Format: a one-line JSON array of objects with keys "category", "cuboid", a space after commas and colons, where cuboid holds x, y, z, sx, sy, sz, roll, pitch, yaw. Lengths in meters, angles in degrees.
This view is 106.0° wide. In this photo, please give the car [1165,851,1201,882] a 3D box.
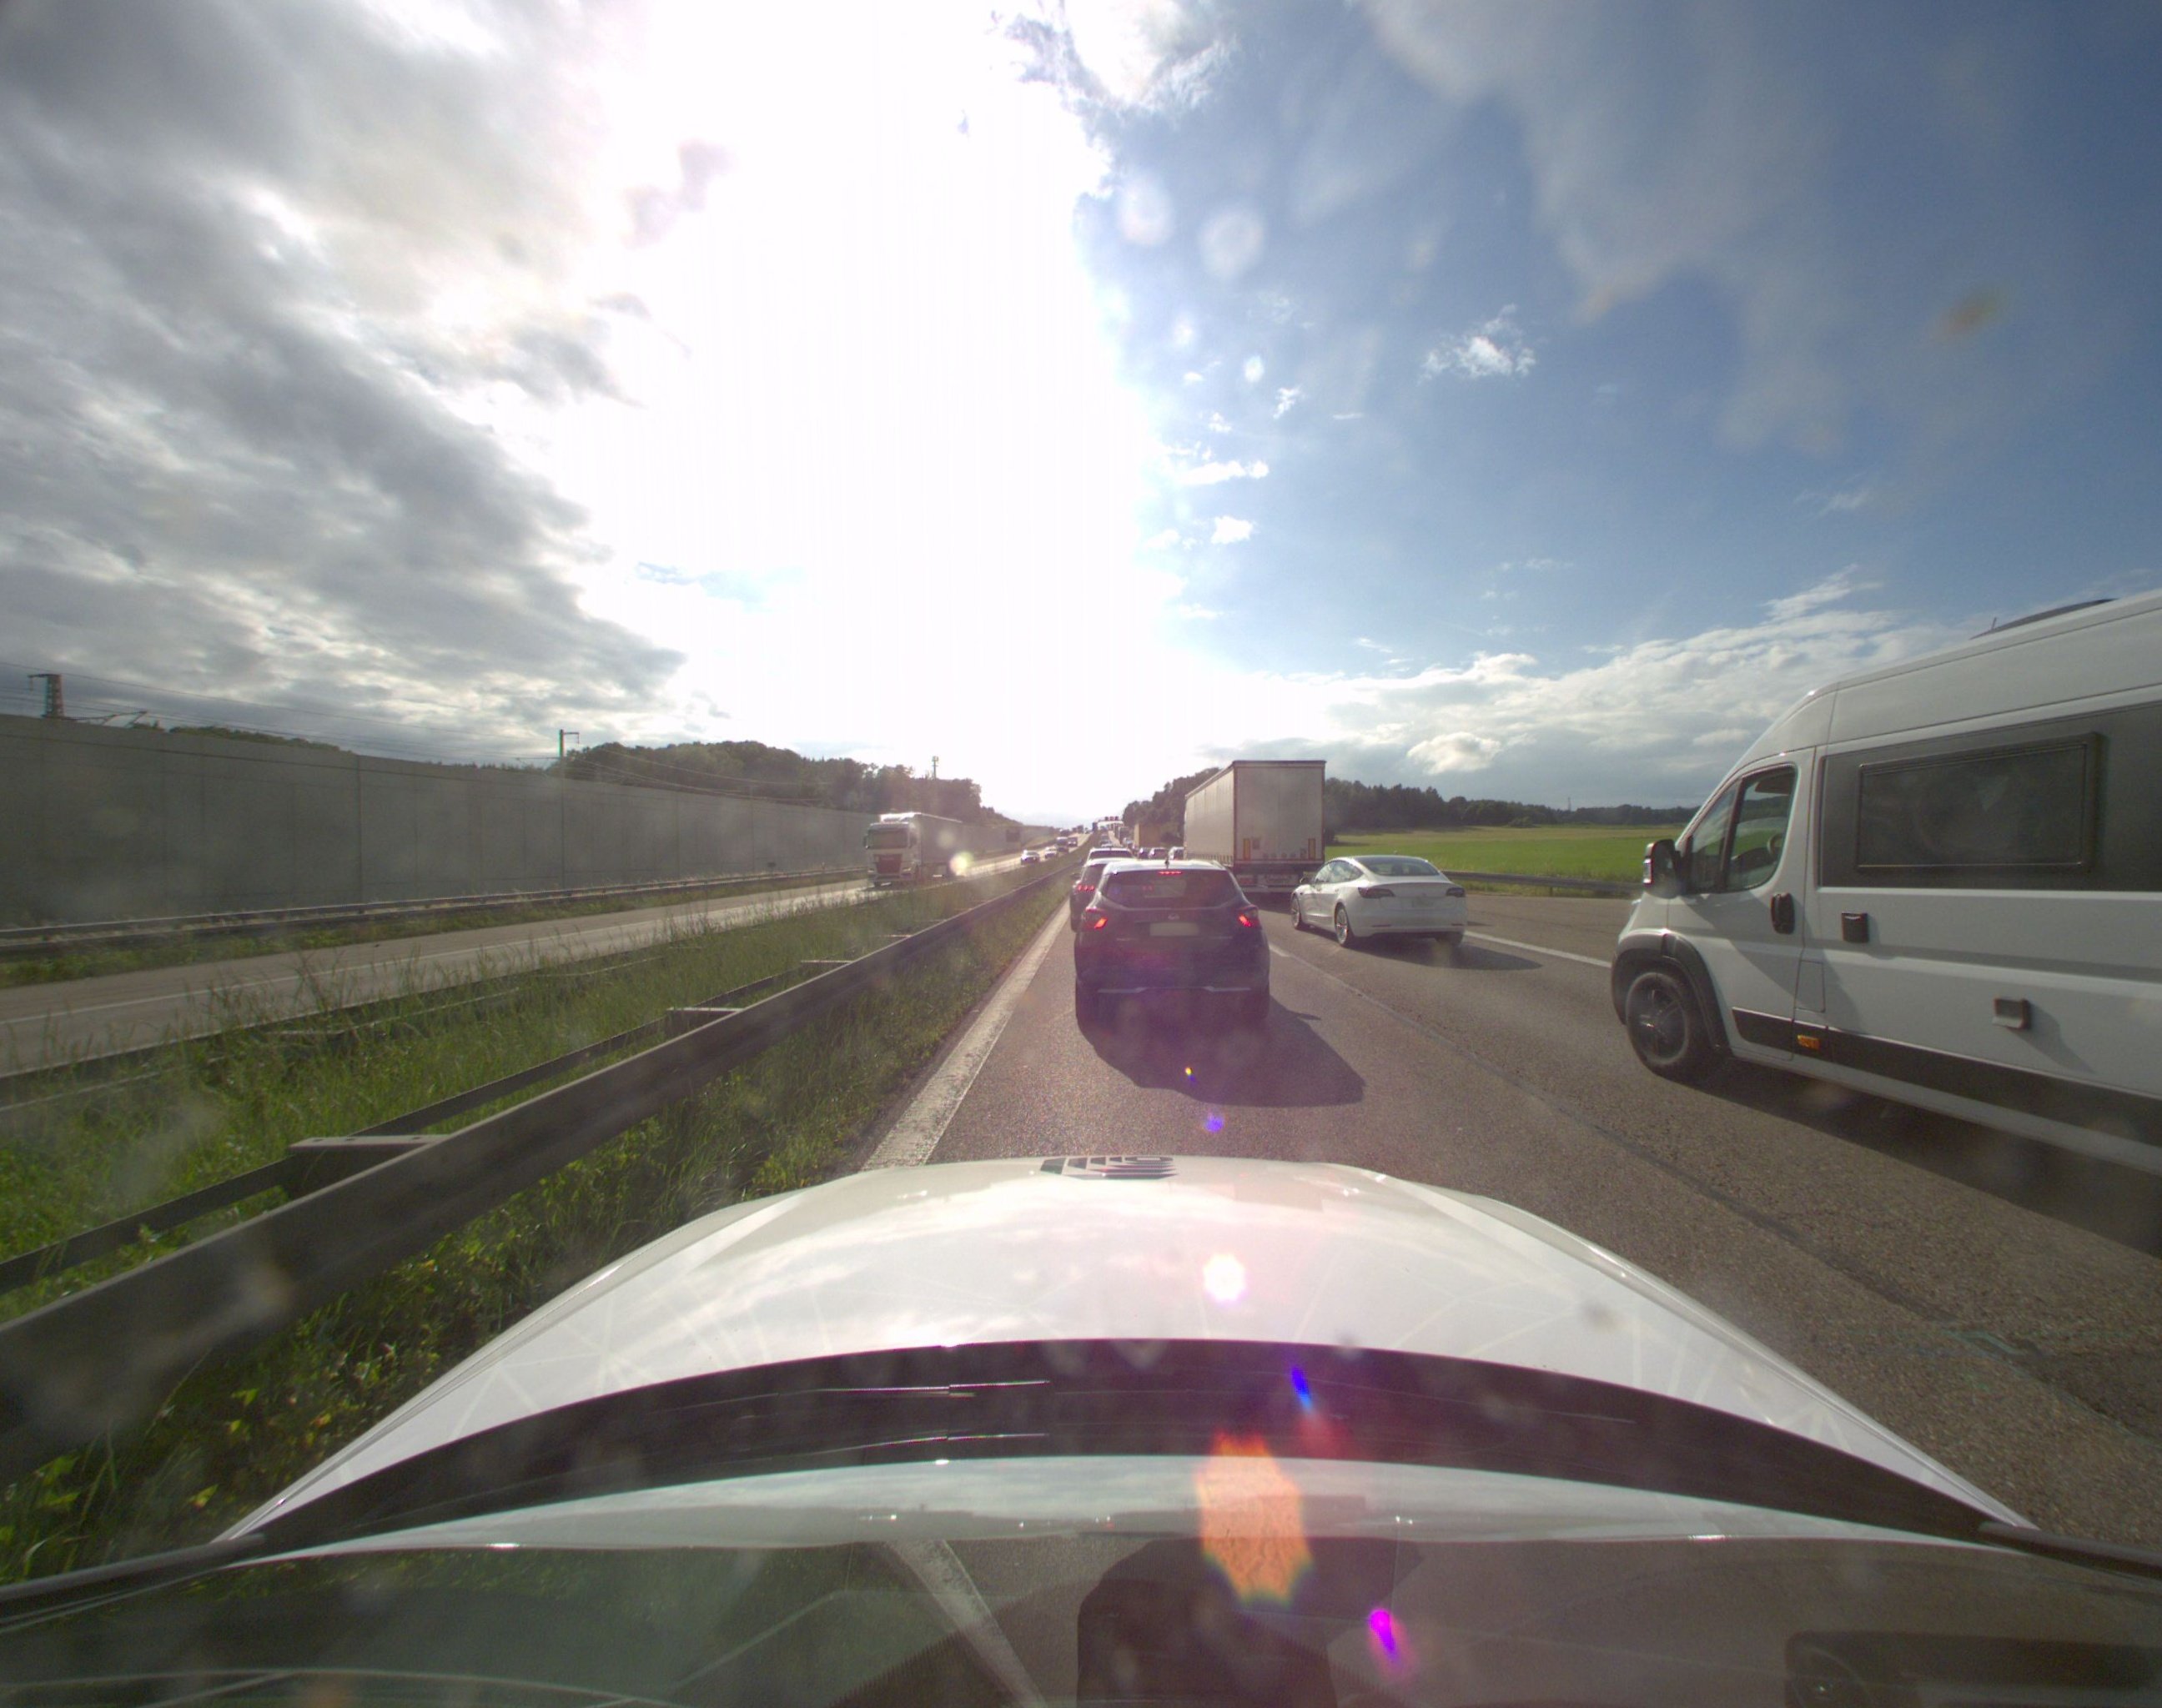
[{"category": "car", "cuboid": [5.730, 0.684, 46.287, 1.691, 1.610, 4.440, -1, 0, 3]}]

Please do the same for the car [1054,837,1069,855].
[{"category": "car", "cuboid": [-3.287, -1.331, 138.192, 2.096, 2.870, 5.637, -1, 0, 1]}]

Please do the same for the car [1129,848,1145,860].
[{"category": "car", "cuboid": [7.809, -0.031, 113.775, 1.867, 1.644, 4.231, -1, 0, 0]}]

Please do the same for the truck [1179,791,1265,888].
[{"category": "truck", "cuboid": [6.161, -0.568, 36.461, 3.121, 4.016, 5.166, -1, -1, 2]}]

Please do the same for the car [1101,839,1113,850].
[{"category": "car", "cuboid": [4.224, -1.624, 132.968, 1.867, 1.644, 4.233, -1, 1, 1]}]

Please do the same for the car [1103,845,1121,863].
[{"category": "car", "cuboid": [3.225, -0.018, 84.978, 1.866, 1.644, 4.235, -1, 1, 2]}]

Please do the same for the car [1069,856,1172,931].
[{"category": "car", "cuboid": [0.795, 0.734, 17.157, 1.866, 1.358, 4.234, -1, 0, 2]}]

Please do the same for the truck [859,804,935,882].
[{"category": "truck", "cuboid": [-10.388, -0.587, 46.594, 2.766, 4.088, 5.533, -3, 0, 1]}]

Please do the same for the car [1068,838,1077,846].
[{"category": "car", "cuboid": [-1.830, -2.798, 186.899, 1.903, 1.671, 4.363, -1, 0, 1]}]

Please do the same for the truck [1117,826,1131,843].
[{"category": "truck", "cuboid": [12.037, -5.498, 227.519, 3.453, 4.576, 12.442, 0, 1, 0]}]

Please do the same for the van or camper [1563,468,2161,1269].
[{"category": "van or camper", "cuboid": [4.734, 0.035, 3.070, 2.207, 2.681, 6.335, -1, 0, 2]}]

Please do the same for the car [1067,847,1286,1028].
[{"category": "car", "cuboid": [0.854, 0.695, 8.824, 1.766, 1.451, 4.234, -1, 0, 2]}]

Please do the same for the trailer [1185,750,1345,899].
[{"category": "trailer", "cuboid": [5.848, -0.692, 28.831, 3.118, 4.011, 13.373, -1, -1, 2]}]

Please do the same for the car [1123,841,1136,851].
[{"category": "car", "cuboid": [8.568, -1.374, 144.783, 1.868, 1.644, 4.230, -1, 1, -2]}]

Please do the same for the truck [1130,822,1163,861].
[{"category": "truck", "cuboid": [8.155, -1.404, 102.648, 3.286, 4.577, 12.440, 0, -1, 0]}]

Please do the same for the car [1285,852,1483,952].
[{"category": "car", "cuboid": [4.931, 0.686, 13.967, 1.782, 1.394, 4.437, -1, 0, 1]}]

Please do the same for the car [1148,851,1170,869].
[{"category": "car", "cuboid": [7.607, 0.591, 79.572, 1.866, 1.644, 4.234, -1, 0, 2]}]

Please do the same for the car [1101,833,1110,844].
[{"category": "car", "cuboid": [5.265, -3.319, 176.831, 1.866, 2.158, 5.214, -1, 3, 2]}]

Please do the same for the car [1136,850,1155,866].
[{"category": "car", "cuboid": [7.015, 0.443, 89.048, 1.866, 1.644, 4.234, -1, 0, 2]}]

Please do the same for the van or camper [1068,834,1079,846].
[{"category": "van or camper", "cuboid": [-1.678, -3.291, 192.678, 2.244, 2.704, 7.172, -1, 0, 1]}]

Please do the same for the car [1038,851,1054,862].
[{"category": "car", "cuboid": [-4.700, 0.366, 110.920, 1.866, 1.451, 4.234, -1, 0, 2]}]

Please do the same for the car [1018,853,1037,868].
[{"category": "car", "cuboid": [-5.517, 0.678, 84.450, 1.646, 1.451, 3.957, -1, 0, 1]}]

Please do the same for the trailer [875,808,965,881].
[{"category": "trailer", "cuboid": [-10.247, -0.544, 53.779, 2.780, 4.077, 13.523, -3, 0, 1]}]

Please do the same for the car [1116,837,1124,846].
[{"category": "car", "cuboid": [9.668, -3.124, 202.161, 1.866, 2.158, 5.214, -1, 3, 2]}]

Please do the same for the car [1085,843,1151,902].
[{"category": "car", "cuboid": [1.140, 0.525, 25.502, 1.866, 1.644, 4.234, -1, 0, 2]}]

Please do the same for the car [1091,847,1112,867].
[{"category": "car", "cuboid": [1.917, 0.263, 74.548, 1.866, 1.644, 4.234, -1, 1, 2]}]
